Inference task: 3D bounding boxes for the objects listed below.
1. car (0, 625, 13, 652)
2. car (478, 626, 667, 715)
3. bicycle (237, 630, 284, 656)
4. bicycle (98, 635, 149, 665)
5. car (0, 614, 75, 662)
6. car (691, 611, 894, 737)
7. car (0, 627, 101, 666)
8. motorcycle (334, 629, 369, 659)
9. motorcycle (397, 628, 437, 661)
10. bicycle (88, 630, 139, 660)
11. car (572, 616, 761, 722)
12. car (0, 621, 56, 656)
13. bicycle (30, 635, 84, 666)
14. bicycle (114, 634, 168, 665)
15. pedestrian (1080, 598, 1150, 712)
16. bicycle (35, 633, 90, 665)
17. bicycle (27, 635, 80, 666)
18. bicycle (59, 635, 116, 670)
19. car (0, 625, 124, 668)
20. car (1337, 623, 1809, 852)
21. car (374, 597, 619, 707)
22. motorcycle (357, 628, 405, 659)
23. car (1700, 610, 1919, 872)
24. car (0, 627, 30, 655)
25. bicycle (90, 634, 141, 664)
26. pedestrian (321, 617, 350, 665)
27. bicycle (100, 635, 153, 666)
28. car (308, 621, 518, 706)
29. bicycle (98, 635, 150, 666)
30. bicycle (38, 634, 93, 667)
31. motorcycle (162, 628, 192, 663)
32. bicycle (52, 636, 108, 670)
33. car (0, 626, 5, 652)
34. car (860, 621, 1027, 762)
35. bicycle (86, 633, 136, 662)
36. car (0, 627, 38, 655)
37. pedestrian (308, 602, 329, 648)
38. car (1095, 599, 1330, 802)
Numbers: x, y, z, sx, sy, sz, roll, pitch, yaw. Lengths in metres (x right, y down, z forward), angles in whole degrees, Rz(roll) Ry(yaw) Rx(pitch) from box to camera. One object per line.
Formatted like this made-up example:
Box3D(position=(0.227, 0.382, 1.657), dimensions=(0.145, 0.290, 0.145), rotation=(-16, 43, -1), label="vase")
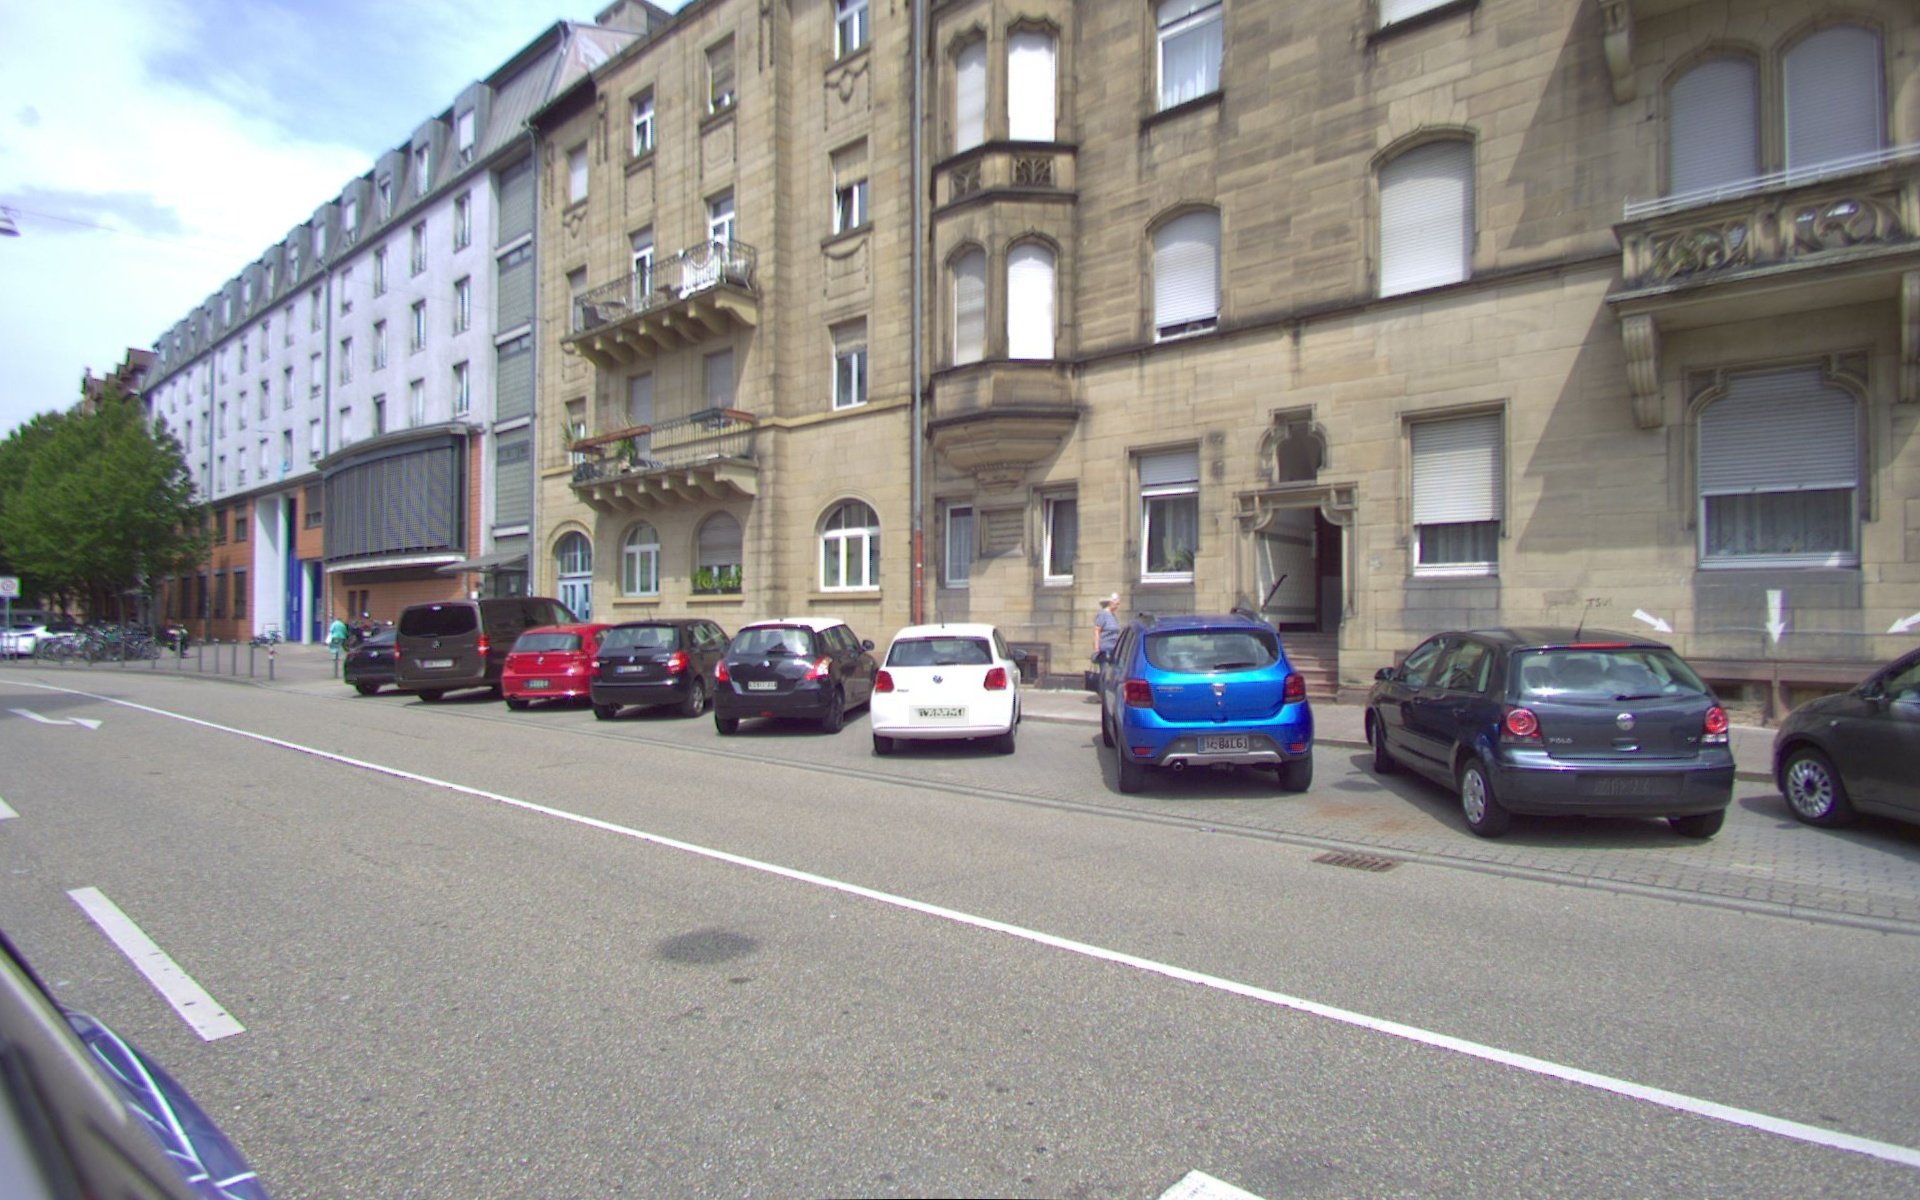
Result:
Box3D(position=(-57.827, 2.277, 58.761), dimensions=(1.671, 1.580, 3.996), rotation=(-1, -2, 7), label="car")
Box3D(position=(-6.796, 1.188, 18.239), dimensions=(1.772, 1.420, 4.009), rotation=(0, -2, 2), label="car")
Box3D(position=(-30.707, 1.867, 44.414), dimensions=(1.590, 0.933, 0.933), rotation=(-6, 2, -37), label="bicycle")
Box3D(position=(-29.955, 1.783, 36.250), dimensions=(0.402, 1.034, 1.390), rotation=(-2, -1, 43), label="bicycle")
Box3D(position=(-41.744, 1.634, 44.492), dimensions=(1.841, 2.013, 3.993), rotation=(0, 0, 10), label="car")
Box3D(position=(-2.261, 0.979, 14.809), dimensions=(1.776, 1.576, 4.001), rotation=(0, -2, 9), label="car")
Box3D(position=(-37.385, 1.841, 40.706), dimensions=(1.697, 1.480, 4.307), rotation=(0, -1, 7), label="car")
Box3D(position=(-22.393, 1.603, 37.217), dimensions=(1.656, 1.057, 0.577), rotation=(-2, -1, 40), label="motorcycle")
Box3D(position=(-17.809, 1.453, 33.167), dimensions=(1.793, 1.057, 0.577), rotation=(-2, -1, 42), label="motorcycle")
Box3D(position=(-30.991, 1.636, 37.048), dimensions=(0.402, 1.034, 1.390), rotation=(-2, -1, 43), label="bicycle")
Box3D(position=(-4.646, 1.047, 16.635), dimensions=(1.611, 1.514, 3.989), rotation=(0, -2, 6), label="car")
Box3D(position=(-45.881, 1.850, 48.273), dimensions=(1.692, 1.627, 3.996), rotation=(-1, -2, 8), label="car")
Box3D(position=(-32.647, 1.801, 36.603), dimensions=(0.402, 1.034, 1.391), rotation=(-2, 0, 43), label="bicycle")
Box3D(position=(-28.181, 1.697, 34.842), dimensions=(0.402, 1.034, 1.390), rotation=(-2, -1, 43), label="bicycle")
Box3D(position=(2.283, 0.784, 14.892), dimensions=(0.678, 1.607, 0.783), rotation=(-1, 0, 41), label="pedestrian")
Box3D(position=(-31.702, 1.712, 35.752), dimensions=(0.402, 1.034, 1.391), rotation=(-2, 0, 43), label="bicycle")
Box3D(position=(-33.249, 1.853, 37.140), dimensions=(0.402, 1.034, 1.391), rotation=(-2, 0, 43), label="bicycle")
Box3D(position=(-28.926, 1.729, 33.557), dimensions=(0.402, 1.046, 1.391), rotation=(-2, 0, 43), label="bicycle")
Box3D(position=(-35.191, 1.769, 39.459), dimensions=(1.583, 1.557, 3.997), rotation=(0, -1, 7), label="car")
Box3D(position=(4.651, 0.925, 8.476), dimensions=(1.814, 1.454, 3.897), rotation=(0, -2, 5), label="car")
Box3D(position=(-9.102, 0.986, 20.518), dimensions=(2.096, 1.924, 5.260), rotation=(0, -2, 7), label="car")
Box3D(position=(-20.461, 1.548, 35.758), dimensions=(1.959, 1.057, 0.579), rotation=(-2, -1, 30), label="motorcycle")
Box3D(position=(6.980, 0.894, 6.357), dimensions=(1.773, 1.664, 4.009), rotation=(0, -2, 2), label="car")
Box3D(position=(-51.795, 2.180, 53.299), dimensions=(1.671, 1.465, 3.996), rotation=(-1, -2, 7), label="car")
Box3D(position=(-30.625, 1.780, 36.725), dimensions=(0.402, 1.034, 1.390), rotation=(-2, -1, 43), label="bicycle")
Box3D(position=(-20.016, 1.307, 32.435), dimensions=(0.509, 1.497, 0.653), rotation=(-1, -2, 39), label="pedestrian")
Box3D(position=(-29.246, 1.768, 35.508), dimensions=(0.402, 1.034, 1.390), rotation=(-2, -1, 43), label="bicycle")
Box3D(position=(-11.629, 1.283, 21.947), dimensions=(1.874, 1.420, 4.669), rotation=(-2, 1, 2), label="car")
Box3D(position=(-29.634, 1.779, 35.880), dimensions=(0.402, 1.034, 1.390), rotation=(-2, -1, 43), label="bicycle")
Box3D(position=(-31.217, 1.751, 35.331), dimensions=(0.402, 1.046, 1.391), rotation=(-2, 0, 43), label="bicycle")
Box3D(position=(-27.824, 1.613, 35.960), dimensions=(1.779, 1.181, 0.577), rotation=(-2, -1, 43), label="motorcycle")
Box3D(position=(-29.638, 1.777, 34.097), dimensions=(0.402, 1.046, 1.391), rotation=(-2, 0, 43), label="bicycle")
Box3D(position=(-59.875, 2.354, 60.445), dimensions=(1.671, 1.580, 3.996), rotation=(-1, -2, 7), label="car")
Box3D(position=(-0.060, 1.021, 12.643), dimensions=(1.720, 1.493, 3.680), rotation=(0, -2, 5), label="car")
Box3D(position=(-31.488, 1.747, 37.530), dimensions=(0.402, 1.034, 1.390), rotation=(-2, -1, 43), label="bicycle")
Box3D(position=(-50.064, 2.115, 51.921), dimensions=(1.577, 1.400, 3.996), rotation=(-1, -2, 7), label="car")
Box3D(position=(-28.487, 1.125, 44.941), dimensions=(0.718, 2.029, 0.785), rotation=(1, -2, -29), label="pedestrian")
Box3D(position=(2.334, 0.876, 10.275), dimensions=(1.703, 1.664, 3.772), rotation=(0, -2, 5), label="car")
